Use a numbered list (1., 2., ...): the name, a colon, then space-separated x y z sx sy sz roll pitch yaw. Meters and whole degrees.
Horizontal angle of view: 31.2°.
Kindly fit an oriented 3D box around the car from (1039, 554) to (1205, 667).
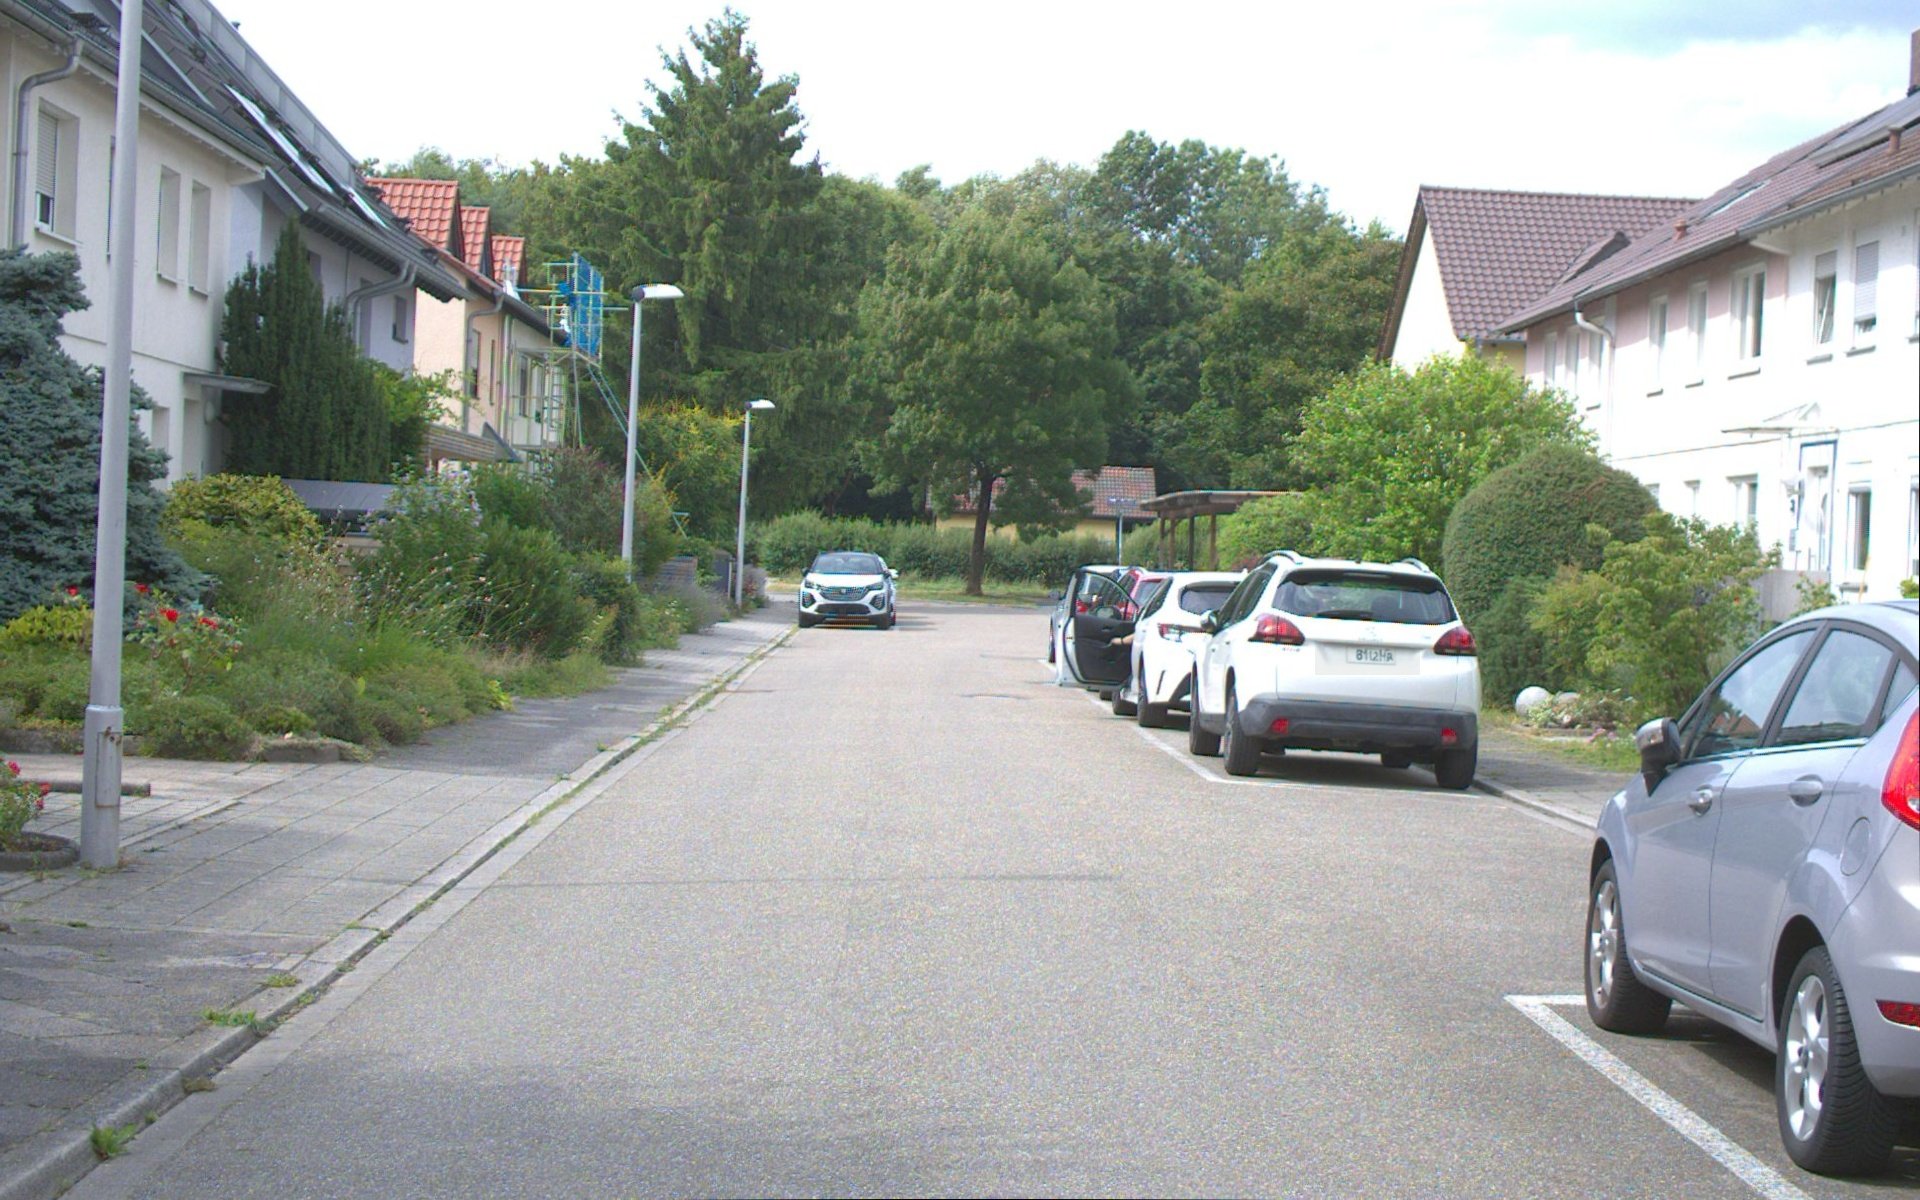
1. car: 2.235 0.113 48.477 1.864 1.412 4.254 3 1 -3

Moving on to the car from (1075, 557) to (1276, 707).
1. car: 2.322 0.303 38.146 1.773 1.431 4.826 4 1 -1

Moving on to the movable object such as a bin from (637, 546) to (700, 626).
1. movable object such as a bin: -4.851 -0.239 57.293 0.949 1.307 1.001 2 1 -2

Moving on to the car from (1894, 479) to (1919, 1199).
1. car: 3.126 0.620 4.930 2.020 1.940 4.748 2 1 -3

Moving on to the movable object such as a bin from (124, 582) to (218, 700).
1. movable object such as a bin: -6.921 0.358 30.183 0.675 1.004 0.598 1 1 -1

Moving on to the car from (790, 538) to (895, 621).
1. car: -2.328 -0.443 69.345 1.934 1.551 4.634 2 1 0

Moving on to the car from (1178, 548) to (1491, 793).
1. car: 2.618 0.439 24.863 1.713 1.538 3.974 3 1 -1

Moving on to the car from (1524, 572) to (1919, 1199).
1. car: 2.970 0.697 10.035 1.900 1.454 4.130 2 1 0

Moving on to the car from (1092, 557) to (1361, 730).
1. car: 2.400 0.350 32.130 1.837 1.408 4.638 2 1 -4
